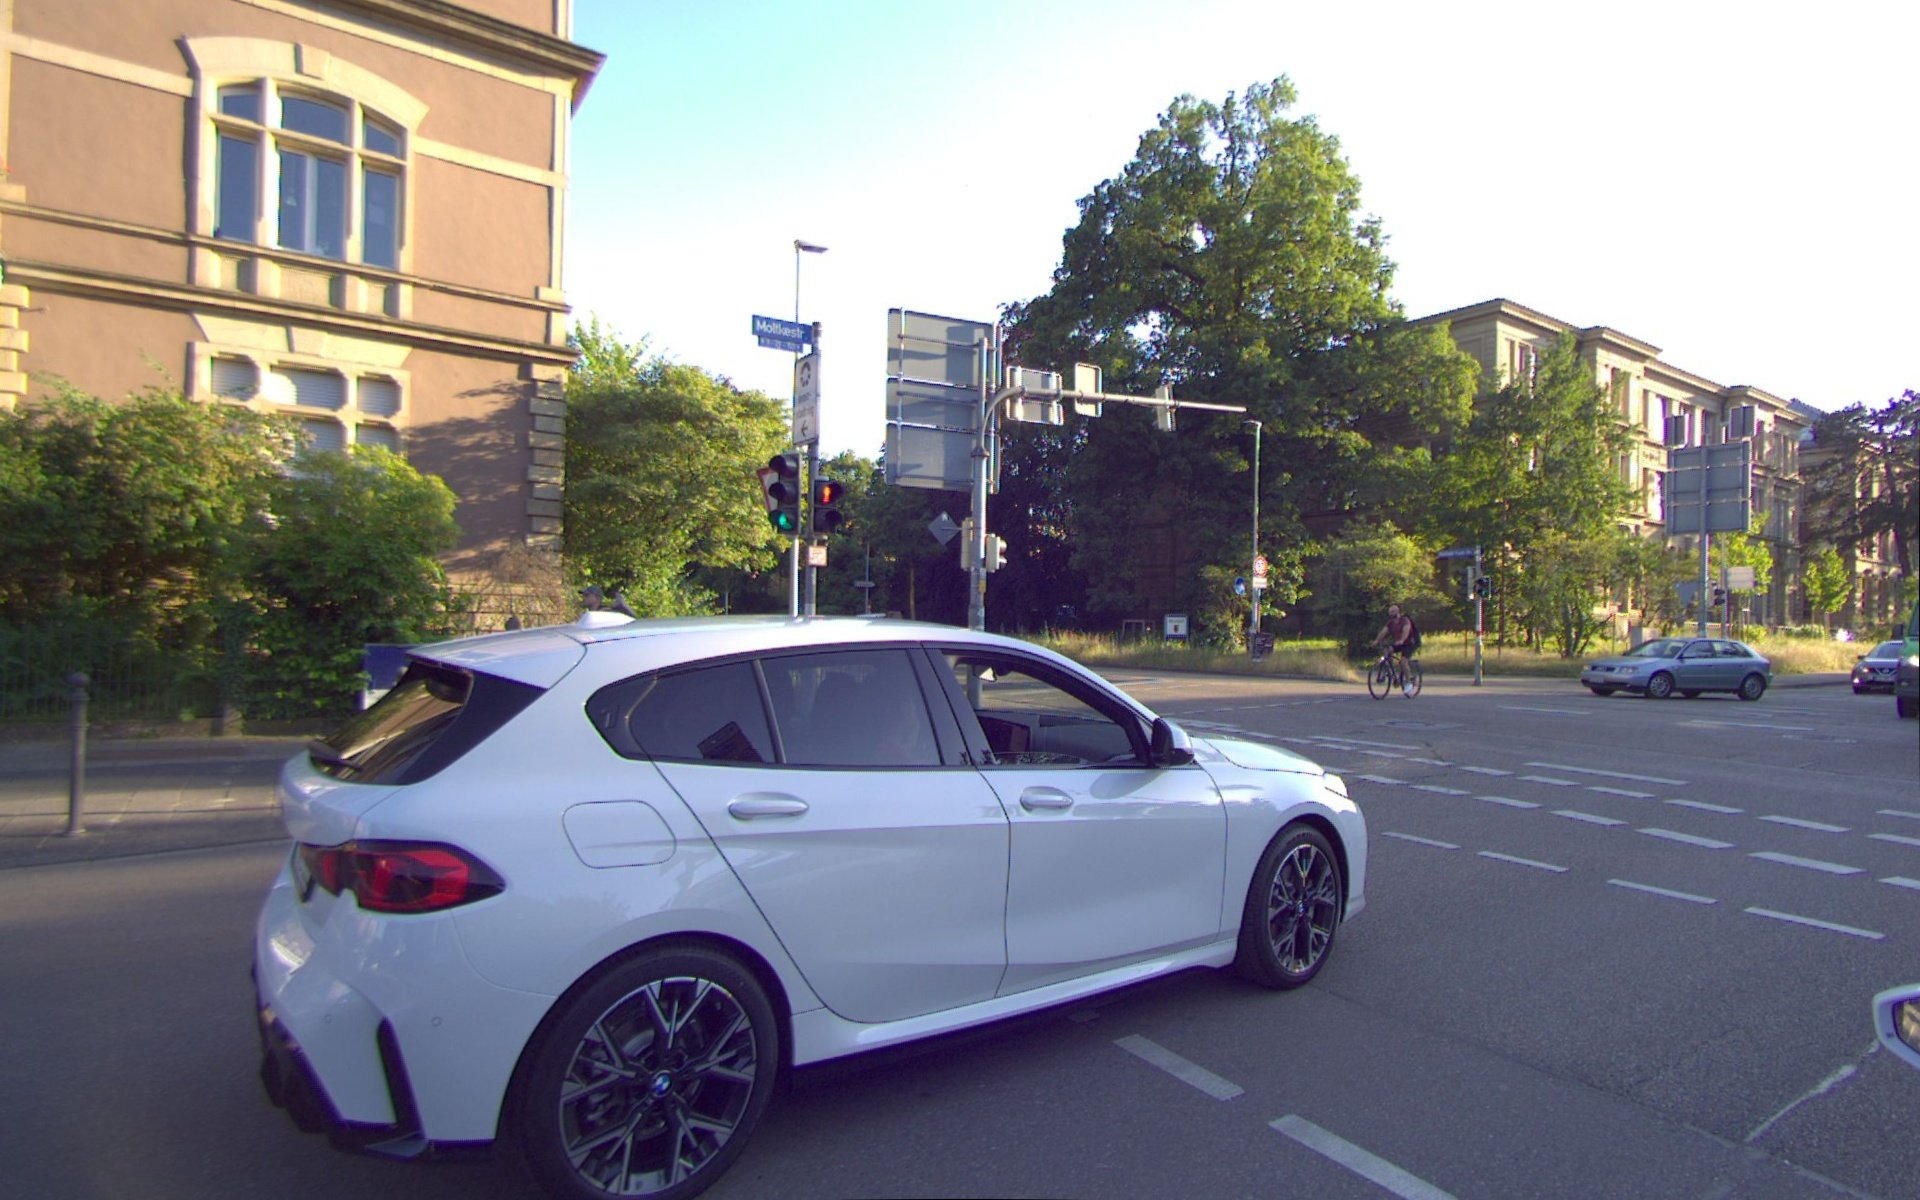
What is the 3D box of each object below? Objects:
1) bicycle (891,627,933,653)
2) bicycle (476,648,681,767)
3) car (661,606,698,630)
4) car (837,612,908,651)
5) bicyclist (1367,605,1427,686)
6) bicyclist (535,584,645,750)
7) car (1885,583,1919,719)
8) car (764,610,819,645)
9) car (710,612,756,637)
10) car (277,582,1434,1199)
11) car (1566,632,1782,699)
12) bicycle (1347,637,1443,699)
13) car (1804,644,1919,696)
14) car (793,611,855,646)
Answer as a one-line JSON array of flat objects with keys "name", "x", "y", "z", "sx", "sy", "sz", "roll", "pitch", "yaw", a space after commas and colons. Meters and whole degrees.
[{"name": "bicycle", "x": -2.305, "y": 1.920, "z": 48.233, "sx": 1.855, "sy": 1.171, "sz": 0.747, "roll": 2, "pitch": 0, "yaw": -30}, {"name": "bicycle", "x": -3.959, "y": 1.081, "z": 10.495, "sx": 1.883, "sy": 1.104, "sz": 0.654, "roll": 2, "pitch": 1, "yaw": -34}, {"name": "car", "x": -22.488, "y": 1.455, "z": 80.482, "sx": 1.780, "sy": 1.751, "sz": 3.965, "roll": 2, "pitch": 0, "yaw": -32}, {"name": "car", "x": -4.523, "y": 1.592, "z": 51.383, "sx": 1.843, "sy": 1.870, "sz": 4.081, "roll": 2, "pitch": -1, "yaw": -34}, {"name": "bicyclist", "x": 8.532, "y": 0.877, "z": 19.608, "sx": 0.946, "sy": 1.532, "sz": 0.679, "roll": 2, "pitch": -1, "yaw": -34}, {"name": "bicyclist", "x": -3.883, "y": 0.678, "z": 10.534, "sx": 0.905, "sy": 1.654, "sz": 0.647, "roll": 2, "pitch": 0, "yaw": -34}, {"name": "car", "x": 18.941, "y": 0.950, "z": 18.494, "sx": 5.891, "sy": 2.308, "sz": 2.022, "roll": 2, "pitch": -1, "yaw": -39}, {"name": "car", "x": -10.233, "y": 1.644, "z": 60.712, "sx": 1.916, "sy": 2.040, "sz": 3.966, "roll": 2, "pitch": -1, "yaw": -32}, {"name": "car", "x": -15.676, "y": 1.687, "z": 69.304, "sx": 1.916, "sy": 1.664, "sz": 3.966, "roll": 2, "pitch": -1, "yaw": -32}, {"name": "car", "x": -0.126, "y": 0.772, "z": 3.904, "sx": 4.147, "sy": 1.485, "sz": 1.741, "roll": 2, "pitch": -1, "yaw": -35}, {"name": "car", "x": 16.519, "y": 1.501, "z": 23.317, "sx": 4.065, "sy": 1.427, "sz": 1.733, "roll": 1, "pitch": -1, "yaw": -10}, {"name": "bicycle", "x": 8.501, "y": 1.300, "z": 19.584, "sx": 2.146, "sy": 1.138, "sz": 0.682, "roll": 2, "pitch": -1, "yaw": -34}, {"name": "car", "x": 25.844, "y": 1.961, "z": 28.674, "sx": 3.605, "sy": 1.346, "sz": 1.754, "roll": 2, "pitch": -1, "yaw": -34}, {"name": "car", "x": -7.723, "y": 1.568, "z": 56.662, "sx": 1.843, "sy": 1.870, "sz": 4.150, "roll": 2, "pitch": -1, "yaw": -33}]
